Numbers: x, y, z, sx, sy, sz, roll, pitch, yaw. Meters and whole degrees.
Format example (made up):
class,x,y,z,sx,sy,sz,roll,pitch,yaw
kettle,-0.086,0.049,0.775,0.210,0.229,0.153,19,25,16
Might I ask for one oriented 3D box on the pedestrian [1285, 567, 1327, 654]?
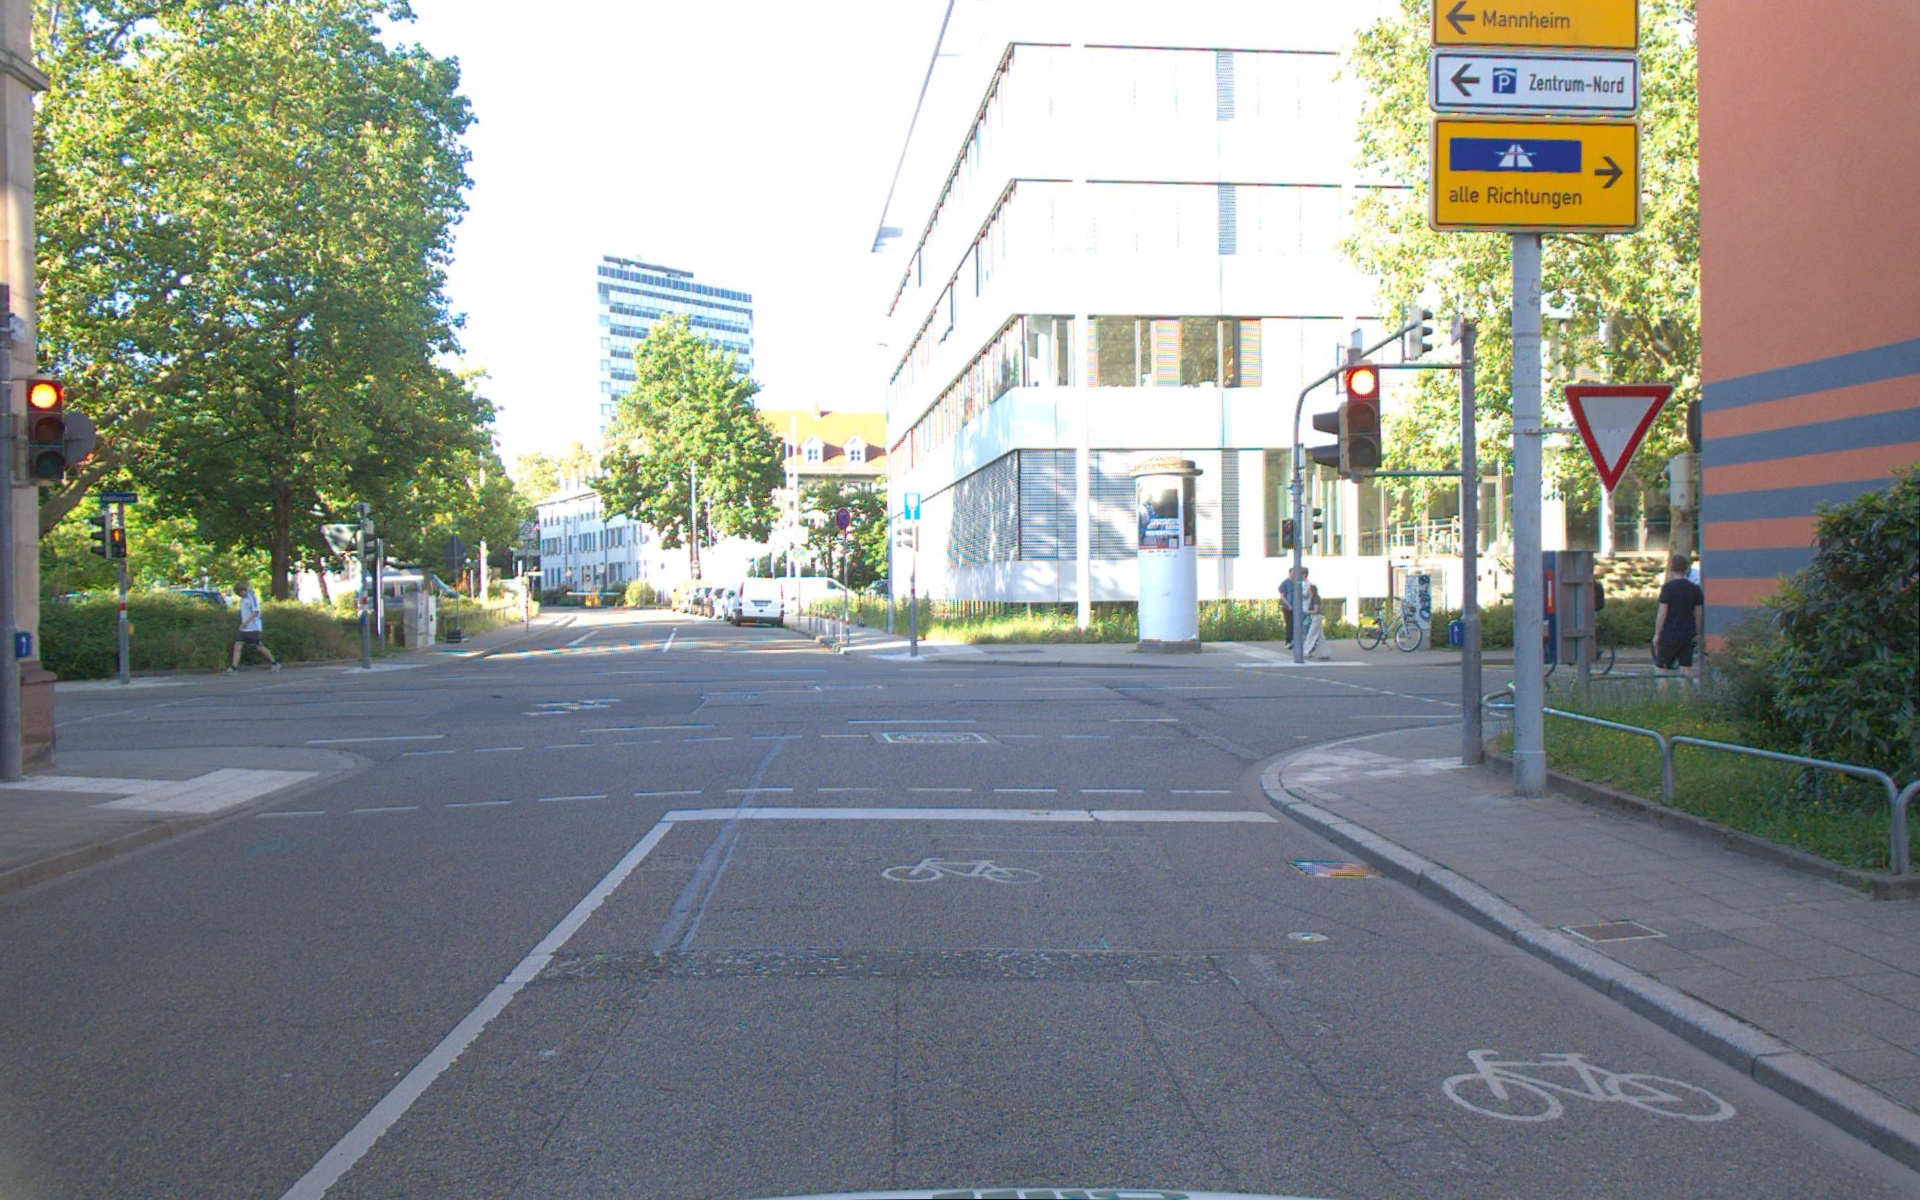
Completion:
class,x,y,z,sx,sy,sz,roll,pitch,yaw
pedestrian,7.342,0.227,35.084,0.749,1.826,0.648,1,-1,2

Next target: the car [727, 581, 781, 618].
class,x,y,z,sx,sy,sz,roll,pitch,yaw
car,-8.865,-0.013,70.896,1.958,1.525,4.639,1,0,-11

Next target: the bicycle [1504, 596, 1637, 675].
class,x,y,z,sx,sy,sz,roll,pitch,yaw
bicycle,9.498,0.543,25.730,1.929,1.172,0.590,-1,0,-12

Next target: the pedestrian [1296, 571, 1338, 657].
class,x,y,z,sx,sy,sz,roll,pitch,yaw
pedestrian,7.430,0.287,34.440,0.749,1.749,0.648,1,-1,2

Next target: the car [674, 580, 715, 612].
class,x,y,z,sx,sy,sz,roll,pitch,yaw
car,-15.377,-0.202,95.599,1.960,1.755,4.635,1,0,-14

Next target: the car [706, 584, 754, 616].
class,x,y,z,sx,sy,sz,roll,pitch,yaw
car,-11.303,-0.001,81.078,1.959,1.525,4.272,1,0,-13

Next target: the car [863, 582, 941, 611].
class,x,y,z,sx,sy,sz,roll,pitch,yaw
car,-3.668,-0.225,104.717,4.563,1.755,1.991,1,0,-17

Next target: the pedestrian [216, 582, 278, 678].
class,x,y,z,sx,sy,sz,roll,pitch,yaw
pedestrian,-14.465,0.606,33.549,0.729,1.901,0.911,0,-1,42

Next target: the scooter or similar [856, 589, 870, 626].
class,x,y,z,sx,sy,sz,roll,pitch,yaw
scooter or similar,-3.425,0.272,58.229,0.429,1.278,1.418,-1,0,-5

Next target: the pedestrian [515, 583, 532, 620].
class,x,y,z,sx,sy,sz,roll,pitch,yaw
pedestrian,-19.362,0.078,73.352,0.688,1.614,0.634,1,-1,-16

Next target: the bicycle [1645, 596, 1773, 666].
class,x,y,z,sx,sy,sz,roll,pitch,yaw
bicycle,12.969,0.530,28.652,1.923,1.172,0.627,-1,0,0

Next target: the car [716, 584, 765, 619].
class,x,y,z,sx,sy,sz,roll,pitch,yaw
car,-10.190,0.066,76.647,1.958,1.525,4.639,1,0,-11

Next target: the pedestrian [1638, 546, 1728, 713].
class,x,y,z,sx,sy,sz,roll,pitch,yaw
pedestrian,8.182,0.323,18.711,0.713,1.842,0.691,1,-1,-42

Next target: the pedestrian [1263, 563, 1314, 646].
class,x,y,z,sx,sy,sz,roll,pitch,yaw
pedestrian,7.460,0.100,37.506,0.898,1.847,0.760,1,-1,33

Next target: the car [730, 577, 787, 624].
class,x,y,z,sx,sy,sz,roll,pitch,yaw
car,-7.913,0.021,64.697,1.957,1.755,4.641,1,0,-10

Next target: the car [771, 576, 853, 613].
class,x,y,z,sx,sy,sz,roll,pitch,yaw
car,-9.193,-0.341,102.791,4.718,2.196,1.990,1,0,-18

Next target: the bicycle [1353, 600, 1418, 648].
class,x,y,z,sx,sy,sz,roll,pitch,yaw
bicycle,9.324,0.509,36.275,0.376,1.026,1.410,-1,0,-42

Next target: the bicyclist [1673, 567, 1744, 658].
class,x,y,z,sx,sy,sz,roll,pitch,yaw
bicyclist,12.960,0.211,28.661,0.897,1.549,0.704,-1,0,0

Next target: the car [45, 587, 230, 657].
class,x,y,z,sx,sy,sz,roll,pitch,yaw
car,-18.365,0.489,37.059,3.347,1.483,1.646,1,0,-11

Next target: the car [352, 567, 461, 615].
class,x,y,z,sx,sy,sz,roll,pitch,yaw
car,-24.958,-0.380,74.677,4.363,2.049,1.995,1,0,-10

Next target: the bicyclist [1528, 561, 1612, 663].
class,x,y,z,sx,sy,sz,roll,pitch,yaw
bicyclist,9.486,0.183,25.736,1.056,1.554,0.590,-1,0,-12

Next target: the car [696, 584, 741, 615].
class,x,y,z,sx,sy,sz,roll,pitch,yaw
car,-12.546,-0.043,85.784,1.959,1.525,4.637,1,0,-13
